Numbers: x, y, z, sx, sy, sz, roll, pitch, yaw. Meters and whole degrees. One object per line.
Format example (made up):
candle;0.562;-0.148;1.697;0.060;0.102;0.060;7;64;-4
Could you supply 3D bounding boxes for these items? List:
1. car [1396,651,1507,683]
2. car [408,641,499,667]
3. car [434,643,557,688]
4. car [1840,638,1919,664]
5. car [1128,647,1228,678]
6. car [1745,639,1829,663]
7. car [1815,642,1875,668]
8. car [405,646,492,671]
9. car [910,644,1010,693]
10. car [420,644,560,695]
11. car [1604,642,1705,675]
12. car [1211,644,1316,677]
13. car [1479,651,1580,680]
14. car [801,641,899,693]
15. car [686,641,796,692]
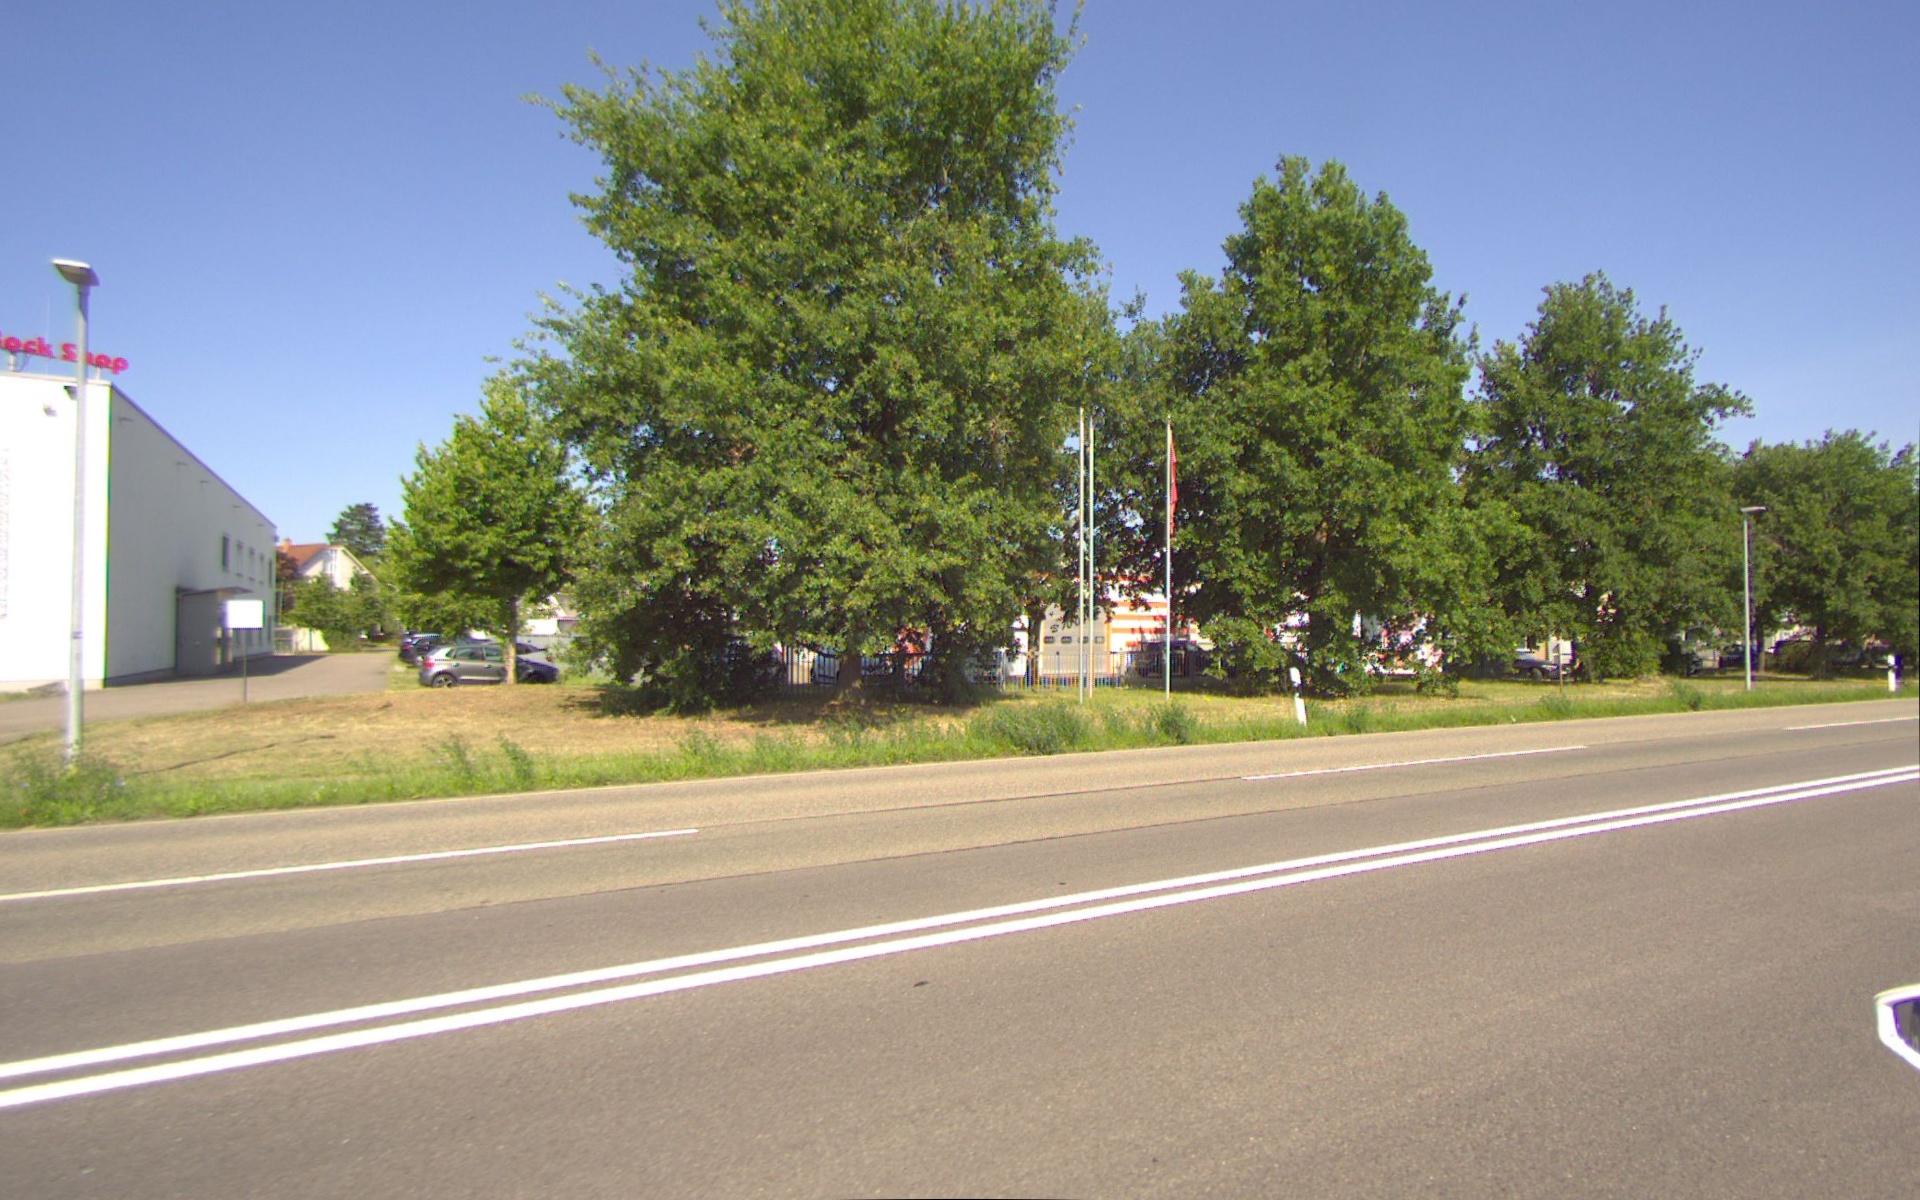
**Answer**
car;22.743;3.146;46.642;1.835;1.342;4.333;2;-6;-29
car;-24.945;2.661;49.502;3.897;1.223;1.628;1;-2;-31
car;-15.853;2.207;34.301;3.679;1.429;1.628;1;-2;-31
car;69.311;3.798;75.250;4.916;1.830;2.075;1;-2;1
car;9.991;2.827;45.935;4.612;1.367;1.777;2;-3;-33
car;65.825;4.049;80.000;4.916;1.830;2.075;1;-2;1
car;60.786;3.750;68.987;4.144;1.673;1.919;2;-2;-31
car;-26.318;2.979;51.661;3.897;1.223;1.628;1;-2;-31
car;-0.063;2.284;34.307;1.737;1.520;3.969;1;-2;-29
car;-14.046;2.041;30.055;3.679;1.408;1.629;1;-2;-31
car;38.814;3.295;56.248;1.976;1.753;4.205;1;-4;-30
car;13.077;2.579;43.208;4.612;1.367;1.777;2;-3;-33
car;28.002;3.219;49.507;1.840;1.323;3.972;1;-4;-28
car;-3.595;2.101;32.341;1.737;1.520;3.969;1;-2;-29
car;-6.958;2.079;32.352;1.706;1.520;4.002;-1;-2;17
